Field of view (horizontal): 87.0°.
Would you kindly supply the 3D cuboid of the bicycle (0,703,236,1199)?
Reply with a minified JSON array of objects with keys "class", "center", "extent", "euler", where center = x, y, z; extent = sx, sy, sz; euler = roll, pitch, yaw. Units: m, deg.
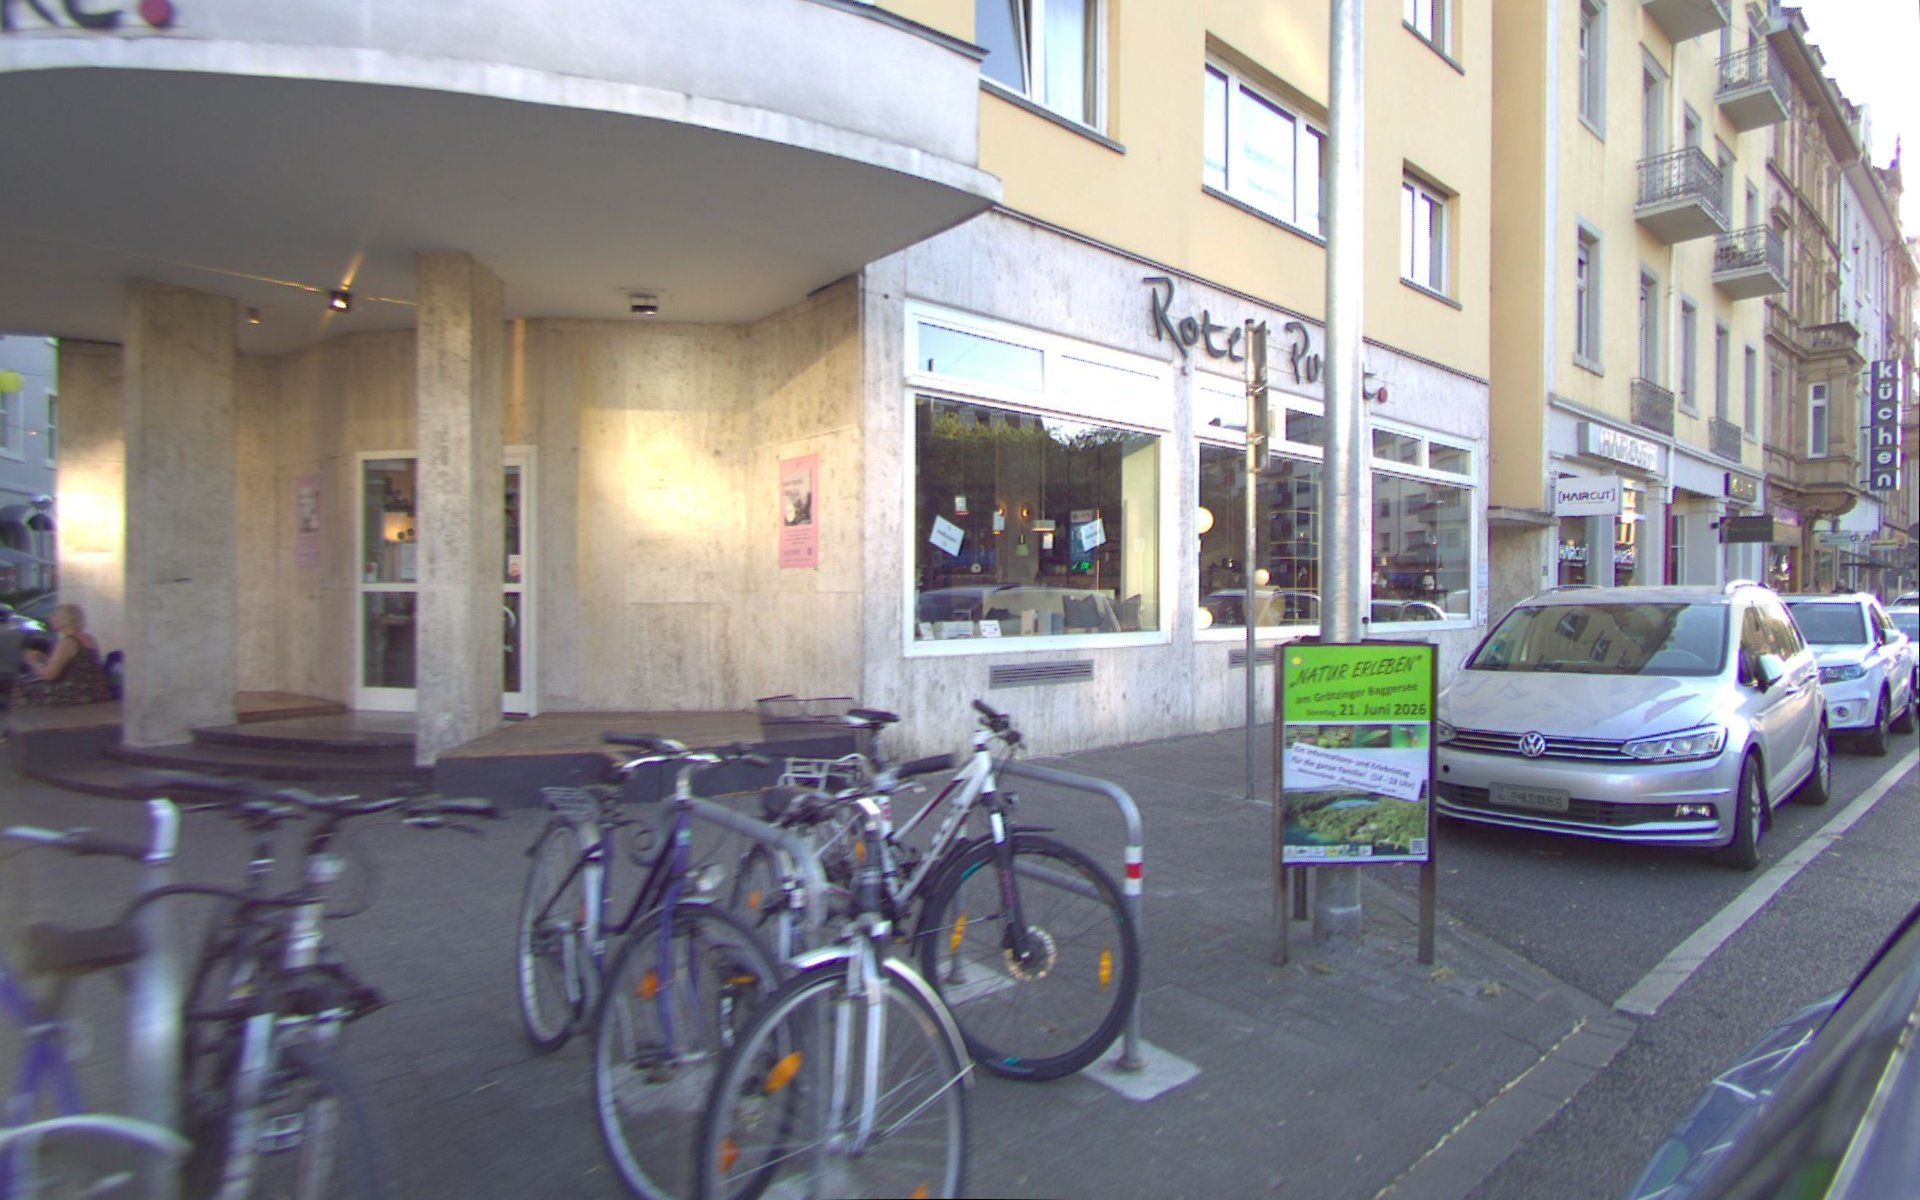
[{"class":"bicycle","center":[-1.752,0.833,1.522],"extent":[1.779,1.187,0.614],"euler":[2,1,39]}]

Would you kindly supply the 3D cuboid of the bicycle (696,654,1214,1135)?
[{"class":"bicycle","center":[-0.108,0.832,3.509],"extent":[1.841,1.137,0.587],"euler":[2,2,39]}]

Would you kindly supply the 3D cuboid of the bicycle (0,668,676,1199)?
[{"class":"bicycle","center":[-1.373,0.814,2.036],"extent":[1.779,1.187,0.614],"euler":[2,1,39]}]

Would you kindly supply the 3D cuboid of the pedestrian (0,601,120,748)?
[{"class":"pedestrian","center":[-7.790,0.612,8.721],"extent":[0.691,1.200,0.638],"euler":[0,0,-24]}]

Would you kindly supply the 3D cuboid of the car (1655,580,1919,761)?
[{"class":"car","center":[9.423,0.625,11.245],"extent":[4.129,1.641,1.820],"euler":[0,0,-41]}]

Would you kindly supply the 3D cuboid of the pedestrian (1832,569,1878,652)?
[{"class":"pedestrian","center":[22.471,0.264,25.414],"extent":[0.836,2.039,0.763],"euler":[0,0,-40]}]

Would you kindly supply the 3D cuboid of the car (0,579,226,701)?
[{"class":"car","center":[-13.128,0.498,15.510],"extent":[1.905,1.605,4.451],"euler":[0,1,-20]}]

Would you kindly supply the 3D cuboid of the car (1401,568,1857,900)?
[{"class":"car","center":[4.975,0.645,7.201],"extent":[4.604,1.637,1.699],"euler":[0,0,-43]}]

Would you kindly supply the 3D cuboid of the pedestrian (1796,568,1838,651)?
[{"class":"pedestrian","center":[21.673,0.229,25.591],"extent":[0.836,2.039,0.673],"euler":[0,0,-40]}]

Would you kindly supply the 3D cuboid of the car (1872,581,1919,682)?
[{"class":"car","center":[18.044,0.522,18.230],"extent":[4.352,1.695,1.876],"euler":[0,0,-41]}]

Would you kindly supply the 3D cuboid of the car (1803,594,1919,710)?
[{"class":"car","center":[13.828,0.661,14.671],"extent":[4.529,1.475,1.737],"euler":[0,0,-41]}]

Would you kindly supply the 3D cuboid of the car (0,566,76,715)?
[{"class":"car","center":[-11.180,0.443,10.471],"extent":[1.797,1.612,3.997],"euler":[0,1,-21]}]

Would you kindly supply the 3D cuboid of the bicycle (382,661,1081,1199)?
[{"class":"bicycle","center":[-0.785,0.807,2.789],"extent":[2.169,1.089,0.793],"euler":[2,1,43]}]
